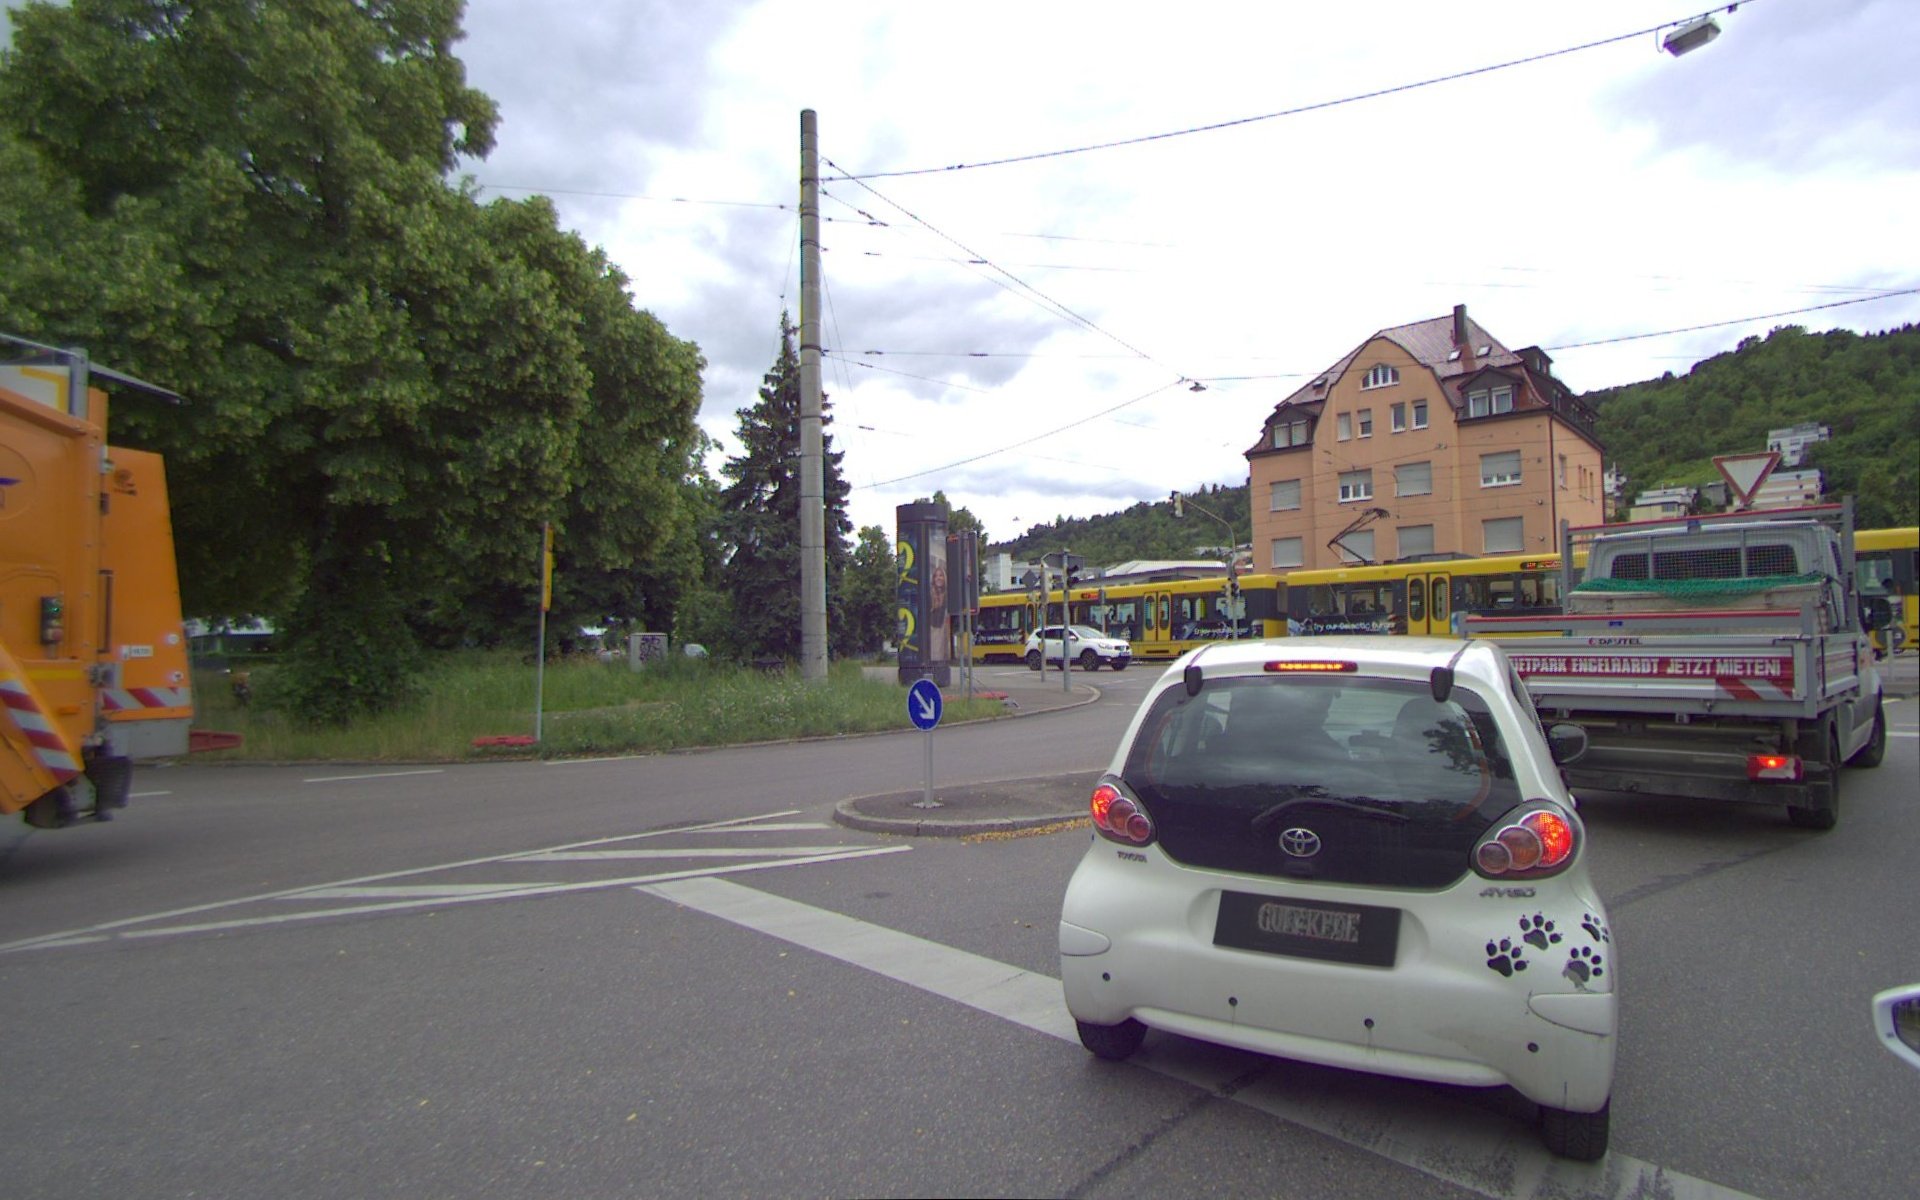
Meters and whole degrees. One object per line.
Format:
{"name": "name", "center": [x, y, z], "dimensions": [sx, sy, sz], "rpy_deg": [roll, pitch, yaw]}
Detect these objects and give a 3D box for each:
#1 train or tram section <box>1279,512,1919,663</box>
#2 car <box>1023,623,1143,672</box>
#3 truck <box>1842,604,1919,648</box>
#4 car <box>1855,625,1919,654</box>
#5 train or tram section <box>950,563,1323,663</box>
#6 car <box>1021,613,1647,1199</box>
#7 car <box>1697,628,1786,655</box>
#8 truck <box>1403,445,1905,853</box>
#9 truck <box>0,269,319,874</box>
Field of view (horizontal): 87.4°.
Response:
{"name": "train or tram section", "center": [19.738, 0.040, 31.736], "dimensions": [18.919, 3.714, 3.257], "rpy_deg": [-4, -3, 45]}
{"name": "car", "center": [4.310, 1.698, 35.705], "dimensions": [1.788, 1.605, 4.079], "rpy_deg": [0, -3, -40]}
{"name": "truck", "center": [55.025, 1.506, 58.506], "dimensions": [5.112, 2.424, 1.995], "rpy_deg": [-3, -3, 33]}
{"name": "car", "center": [52.928, 2.175, 56.161], "dimensions": [1.764, 1.553, 4.162], "rpy_deg": [1, -3, -44]}
{"name": "train or tram section", "center": [6.871, 0.959, 45.649], "dimensions": [3.251, 3.714, 18.953], "rpy_deg": [0, -3, -40]}
{"name": "car", "center": [1.736, 0.845, 4.327], "dimensions": [1.615, 1.451, 3.426], "rpy_deg": [-3, -3, 29]}
{"name": "car", "center": [47.602, 2.548, 61.244], "dimensions": [4.153, 1.553, 1.768], "rpy_deg": [-3, -3, 39]}
{"name": "truck", "center": [6.447, 0.385, 8.928], "dimensions": [5.986, 2.429, 2.399], "rpy_deg": [1, -4, -43]}
{"name": "truck", "center": [-8.104, -0.184, 3.394], "dimensions": [2.743, 3.573, 10.420], "rpy_deg": [-1, -1, 21]}
